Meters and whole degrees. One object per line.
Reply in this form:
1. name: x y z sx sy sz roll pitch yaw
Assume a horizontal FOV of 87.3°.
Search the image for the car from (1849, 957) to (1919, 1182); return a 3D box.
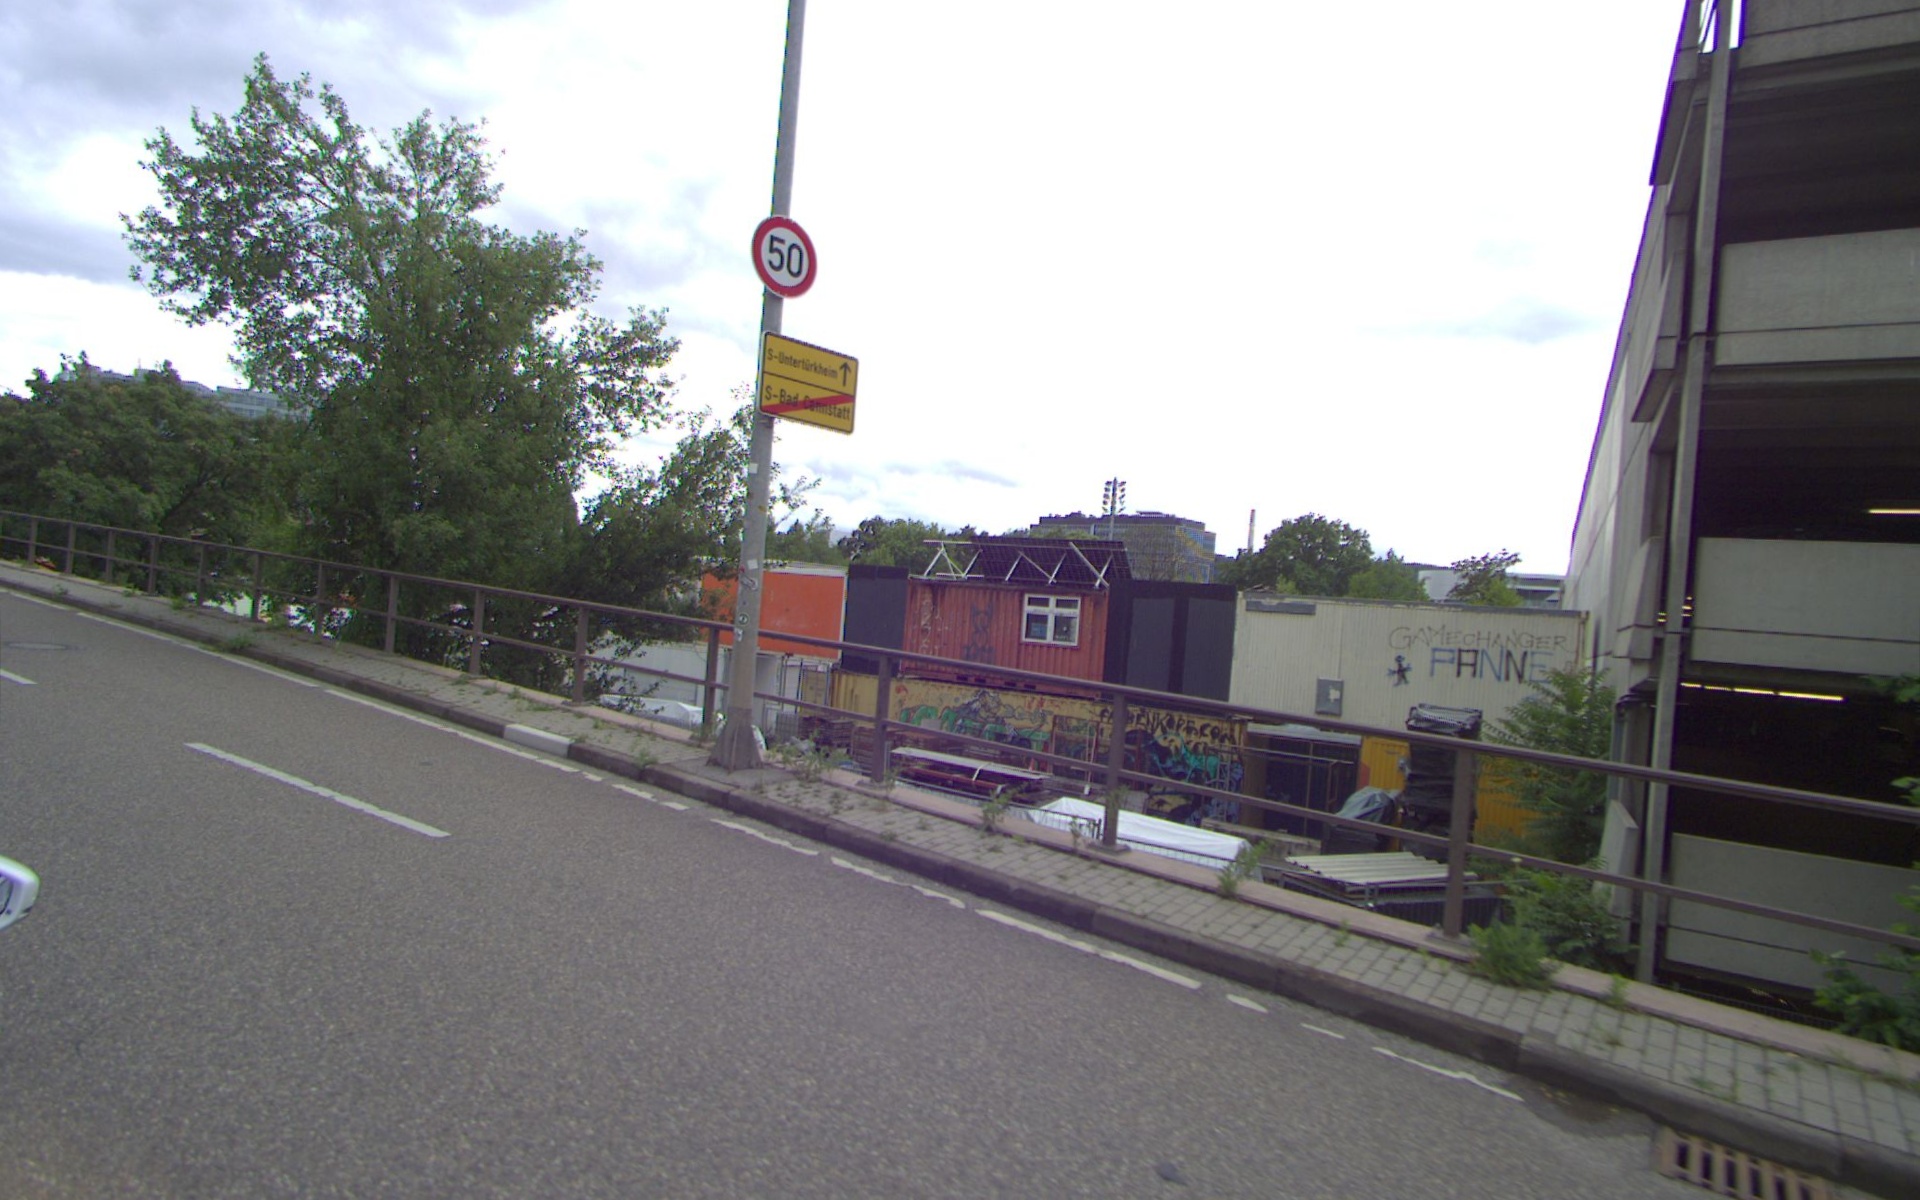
1. car: 11.385 5.448 10.560 1.966 1.806 4.754 4 -2 29
